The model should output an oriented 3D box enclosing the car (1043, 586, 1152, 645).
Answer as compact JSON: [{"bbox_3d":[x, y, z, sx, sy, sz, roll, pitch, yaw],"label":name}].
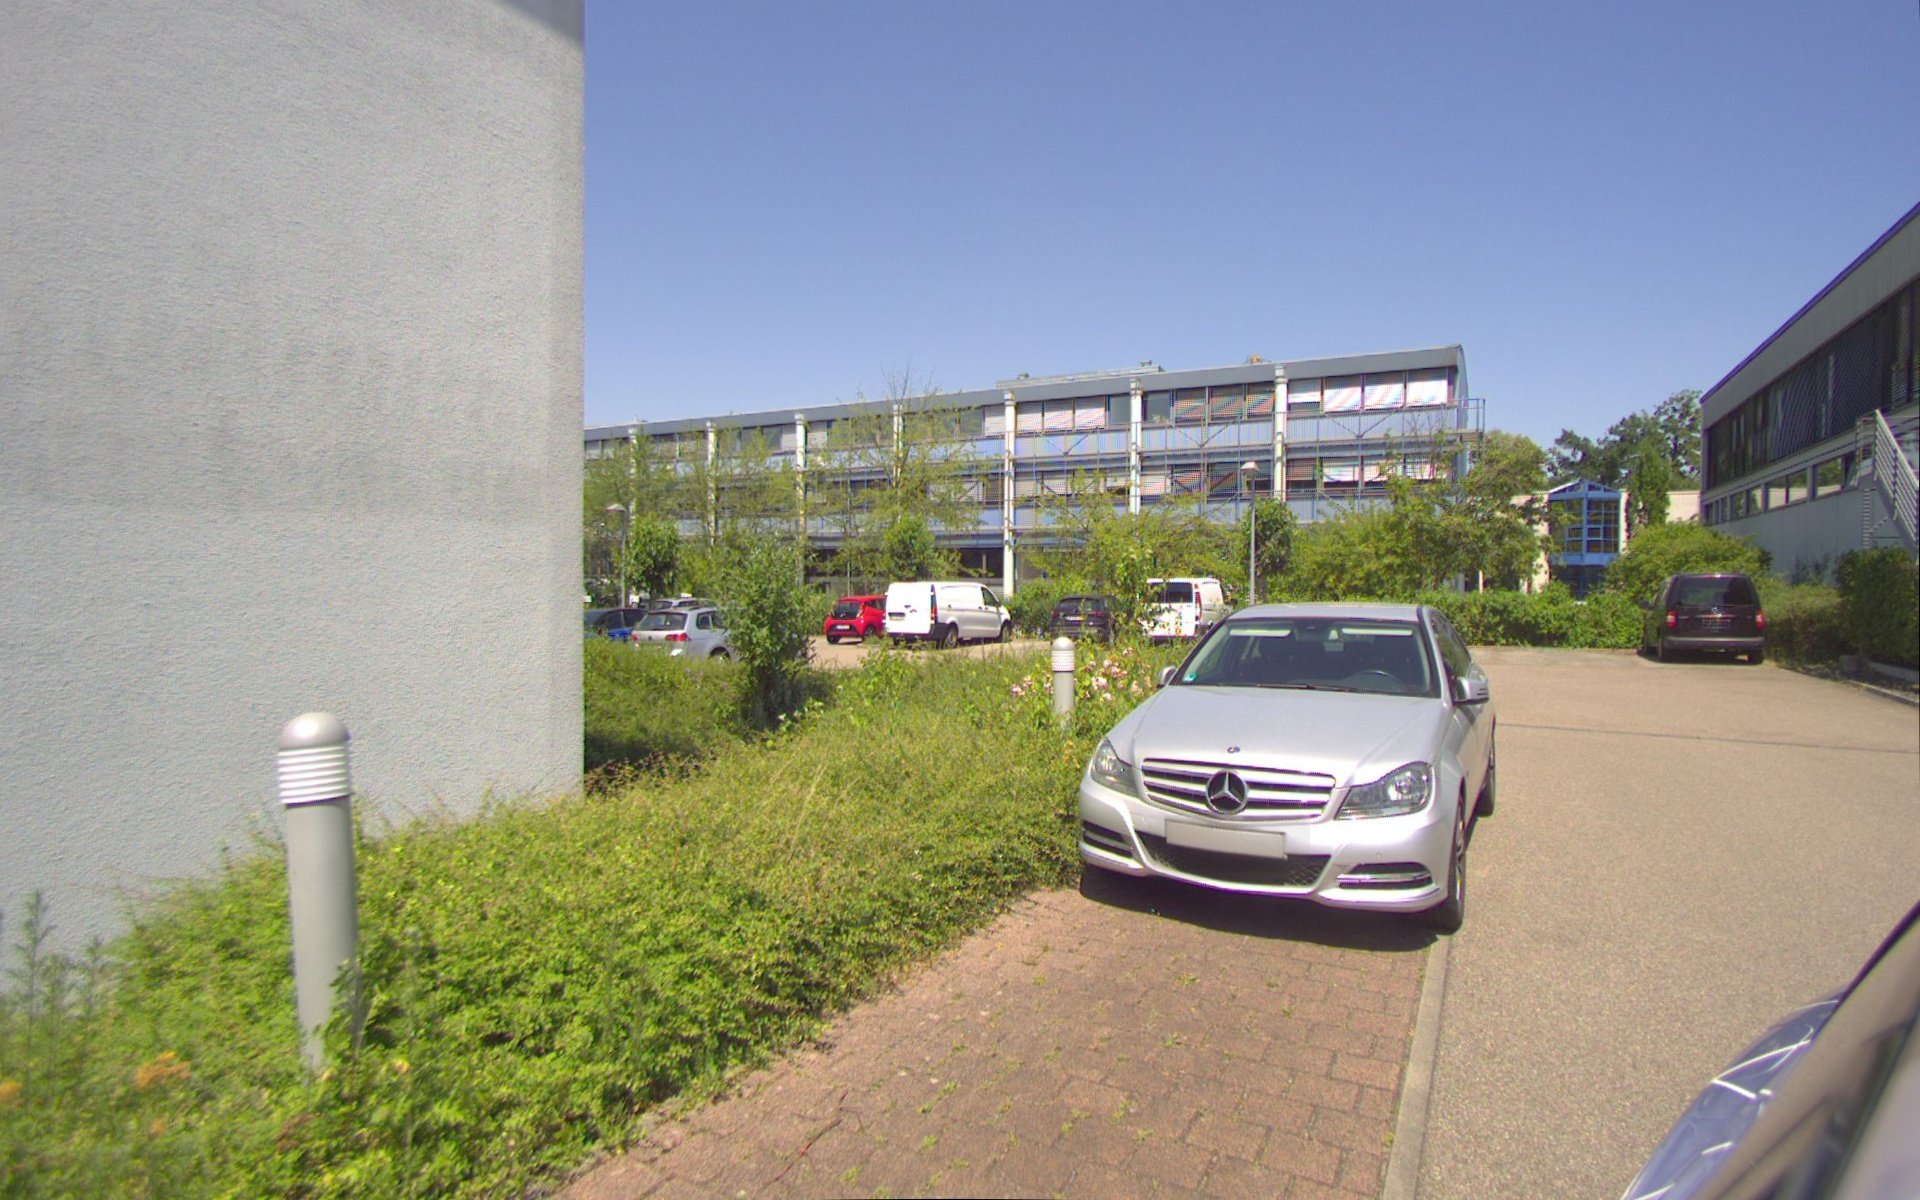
[{"bbox_3d":[3.922,0.374,28.278,1.723,1.502,4.158,-1,1,28],"label":"car"}]

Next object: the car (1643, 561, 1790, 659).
[{"bbox_3d":[16.090,0.157,21.750,1.851,1.883,4.188,-1,1,28],"label":"car"}]

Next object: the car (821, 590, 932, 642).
[{"bbox_3d":[-2.608,0.467,32.478,1.611,1.506,3.880,-1,1,30],"label":"car"}]

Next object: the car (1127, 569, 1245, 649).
[{"bbox_3d":[5.987,0.178,26.408,1.851,1.883,4.632,-1,1,28],"label":"car"}]

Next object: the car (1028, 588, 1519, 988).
[{"bbox_3d":[2.199,0.658,6.018,1.791,1.415,4.371,0,1,31],"label":"car"}]

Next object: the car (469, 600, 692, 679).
[{"bbox_3d":[-8.208,0.788,22.341,1.839,1.513,4.568,-1,0,28],"label":"car"}]

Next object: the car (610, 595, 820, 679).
[{"bbox_3d":[-4.942,0.675,21.068,1.839,1.539,4.384,-1,0,28],"label":"car"}]

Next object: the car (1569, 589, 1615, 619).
[{"bbox_3d":[36.624,0.206,58.730,1.818,1.586,3.967,0,2,25],"label":"car"}]

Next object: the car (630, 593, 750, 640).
[{"bbox_3d":[-9.480,0.548,35.802,1.725,1.502,4.041,-1,1,31],"label":"car"}]

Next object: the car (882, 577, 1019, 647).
[{"bbox_3d":[-0.161,0.276,29.994,1.841,1.879,4.884,-1,1,30],"label":"car"}]
